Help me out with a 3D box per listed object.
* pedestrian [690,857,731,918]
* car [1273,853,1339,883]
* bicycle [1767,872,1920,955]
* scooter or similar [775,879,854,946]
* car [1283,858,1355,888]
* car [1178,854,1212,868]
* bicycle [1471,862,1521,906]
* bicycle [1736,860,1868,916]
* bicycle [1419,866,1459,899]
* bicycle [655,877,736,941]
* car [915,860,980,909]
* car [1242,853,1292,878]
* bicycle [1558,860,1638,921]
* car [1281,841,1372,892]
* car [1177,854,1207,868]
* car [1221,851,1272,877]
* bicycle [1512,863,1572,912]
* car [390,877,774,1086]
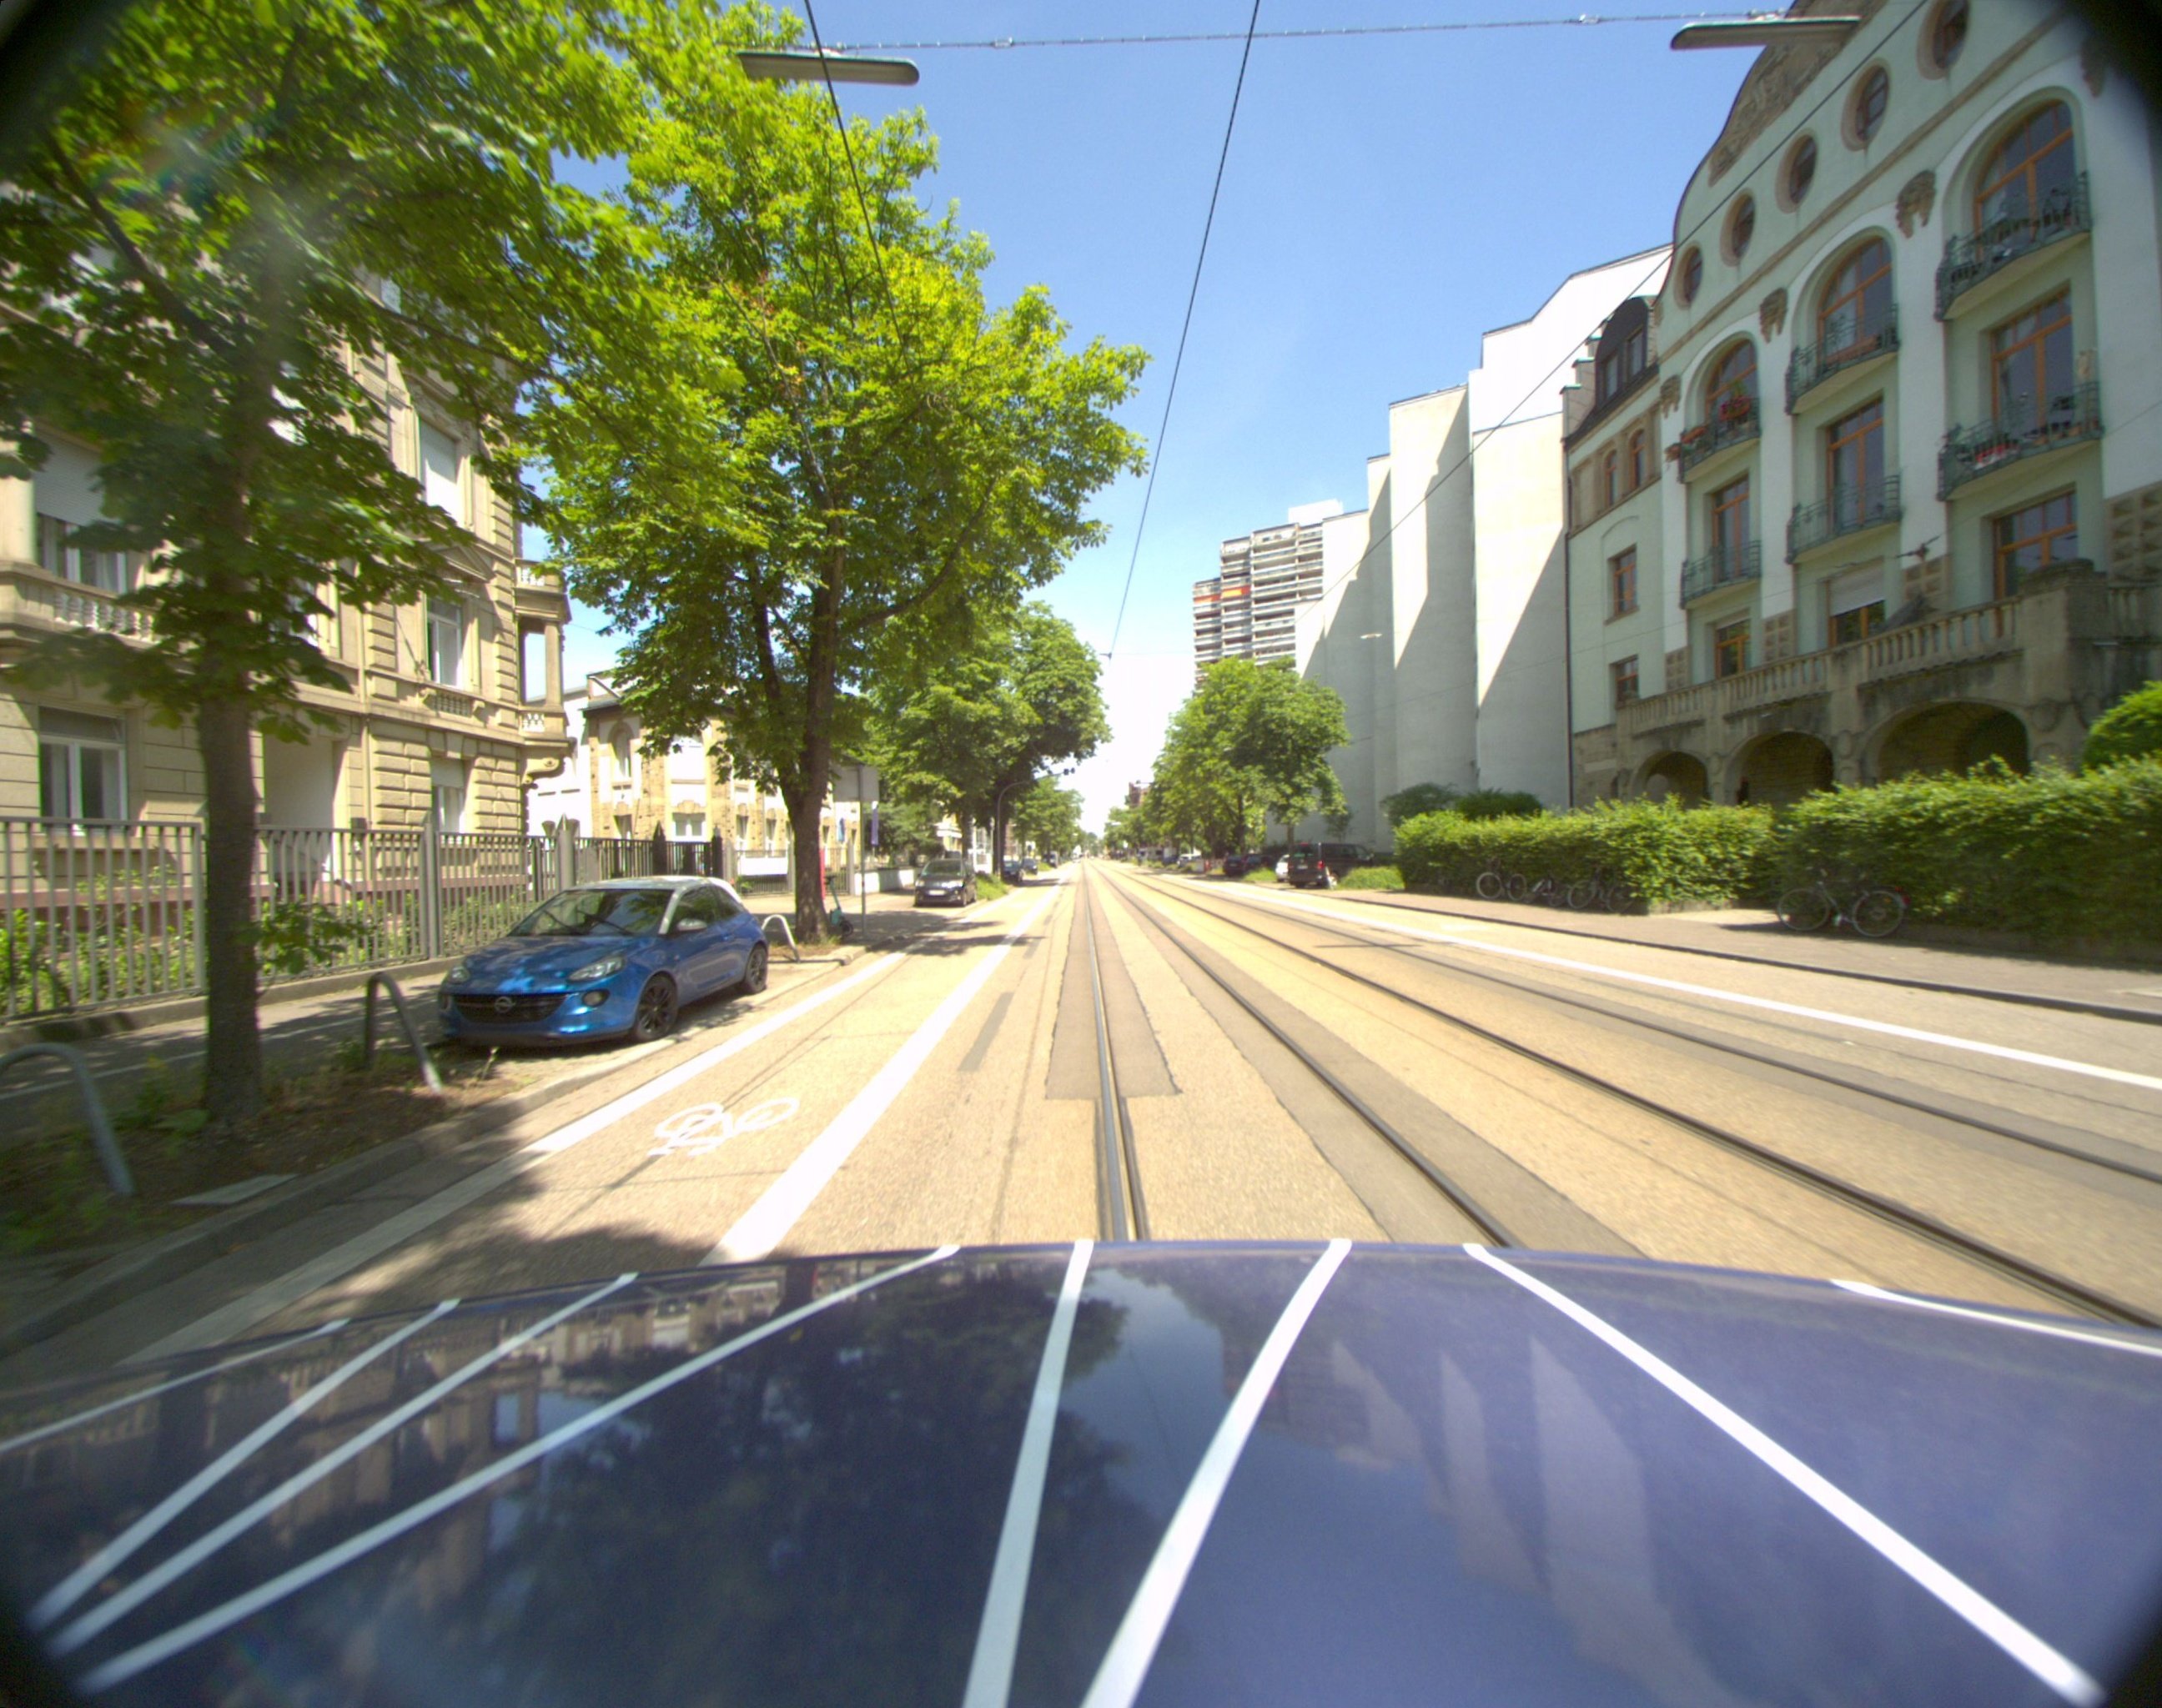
[{"bbox_3d":[-10.204,0.919,20.954,0.669,1.627,0.665,-2,1,17],"label":"pedestrian"},{"bbox_3d":[11.708,0.702,39.437,1.735,1.417,3.898,-1,0,43],"label":"car"},{"bbox_3d":[11.020,0.818,11.074,0.290,1.040,1.899,-2,1,0],"label":"bicycle"},{"bbox_3d":[-5.207,1.131,14.890,1.378,1.225,0.375,-2,1,-13],"label":"scooter or similar"},{"bbox_3d":[11.358,0.869,36.167,3.568,1.232,1.518,-3,1,-40],"label":"car"},{"bbox_3d":[11.396,0.704,75.724,3.490,1.259,1.492,-2,0,-44],"label":"car"},{"bbox_3d":[10.906,0.776,20.034,0.340,1.062,1.728,-2,1,0],"label":"bicycle"},{"bbox_3d":[14.142,0.665,14.920,2.228,0.990,0.374,-2,1,0],"label":"bicycle"},{"bbox_3d":[10.987,0.853,23.352,0.340,0.935,1.728,-4,0,0],"label":"bicycle"},{"bbox_3d":[-8.466,1.171,16.800,0.688,1.217,2.118,-2,1,-1],"label":"bicycle"},{"bbox_3d":[-4.634,1.030,26.887,1.647,1.587,4.115,0,-1,-1],"label":"car"},{"bbox_3d":[11.376,0.683,46.265,1.488,1.391,3.287,-1,1,43],"label":"car"},{"bbox_3d":[10.911,0.739,16.105,0.340,1.157,1.932,-2,1,0],"label":"bicycle"},{"bbox_3d":[10.607,0.501,32.699,3.915,1.958,1.908,-3,1,-40],"label":"car"},{"bbox_3d":[11.534,0.735,79.022,3.316,1.293,1.361,-2,0,-44],"label":"car"},{"bbox_3d":[10.754,0.639,49.222,1.636,1.540,3.815,-1,0,39],"label":"car"},{"bbox_3d":[10.886,0.770,17.998,0.340,1.062,1.728,-2,1,0],"label":"bicycle"},{"bbox_3d":[-4.694,1.077,7.854,1.614,1.488,3.582,0,1,-1],"label":"car"}]
